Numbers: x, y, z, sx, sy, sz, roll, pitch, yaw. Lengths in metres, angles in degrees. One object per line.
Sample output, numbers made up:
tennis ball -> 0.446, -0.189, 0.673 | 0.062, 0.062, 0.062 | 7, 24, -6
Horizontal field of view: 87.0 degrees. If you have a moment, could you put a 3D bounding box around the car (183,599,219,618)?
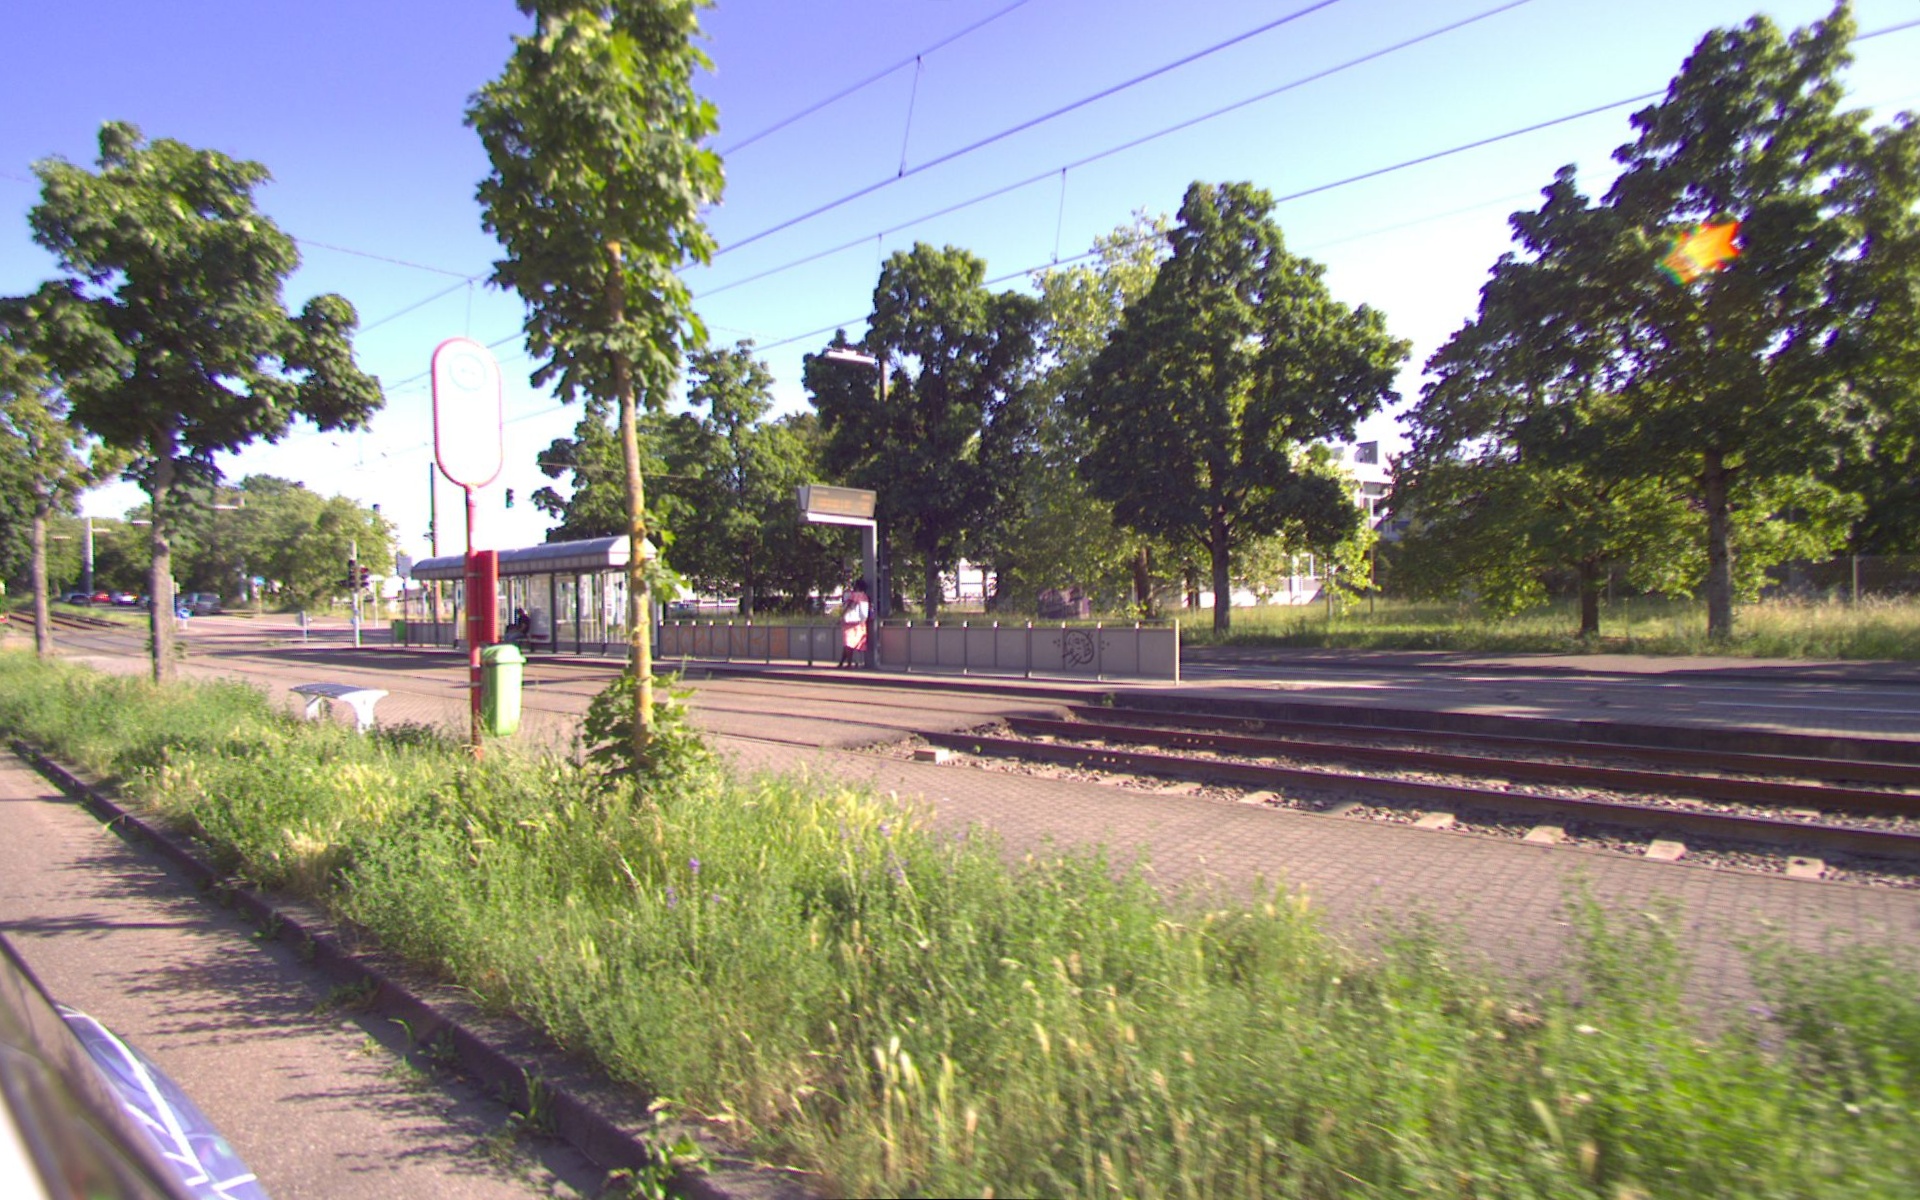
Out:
car -> -66.407, 0.773, 88.542 | 3.454, 1.597, 1.749 | -1, -1, 40

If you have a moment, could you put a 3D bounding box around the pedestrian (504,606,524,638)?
pedestrian -> -24.625, 1.204, 55.873 | 0.796, 1.689, 0.637 | -1, 0, 3

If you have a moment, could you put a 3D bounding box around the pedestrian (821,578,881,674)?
pedestrian -> -2.055, 0.480, 19.093 | 0.781, 1.765, 0.776 | -1, 0, 40

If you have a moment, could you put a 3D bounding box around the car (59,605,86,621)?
car -> -94.249, 1.370, 107.501 | 3.454, 1.597, 1.680 | -1, -1, 40

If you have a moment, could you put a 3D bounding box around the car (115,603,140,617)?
car -> -96.110, 1.126, 116.793 | 3.454, 1.597, 1.680 | -1, -1, 40

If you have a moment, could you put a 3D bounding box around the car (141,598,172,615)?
car -> -76.759, 0.599, 96.685 | 3.454, 1.597, 1.680 | -1, -1, 40

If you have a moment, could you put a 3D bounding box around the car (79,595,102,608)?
car -> -110.163, 0.248, 128.189 | 3.454, 1.597, 1.680 | -1, -1, 40

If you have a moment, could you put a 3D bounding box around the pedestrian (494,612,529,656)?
pedestrian -> -12.868, 0.979, 29.047 | 0.679, 1.258, 0.643 | -1, -3, 33
